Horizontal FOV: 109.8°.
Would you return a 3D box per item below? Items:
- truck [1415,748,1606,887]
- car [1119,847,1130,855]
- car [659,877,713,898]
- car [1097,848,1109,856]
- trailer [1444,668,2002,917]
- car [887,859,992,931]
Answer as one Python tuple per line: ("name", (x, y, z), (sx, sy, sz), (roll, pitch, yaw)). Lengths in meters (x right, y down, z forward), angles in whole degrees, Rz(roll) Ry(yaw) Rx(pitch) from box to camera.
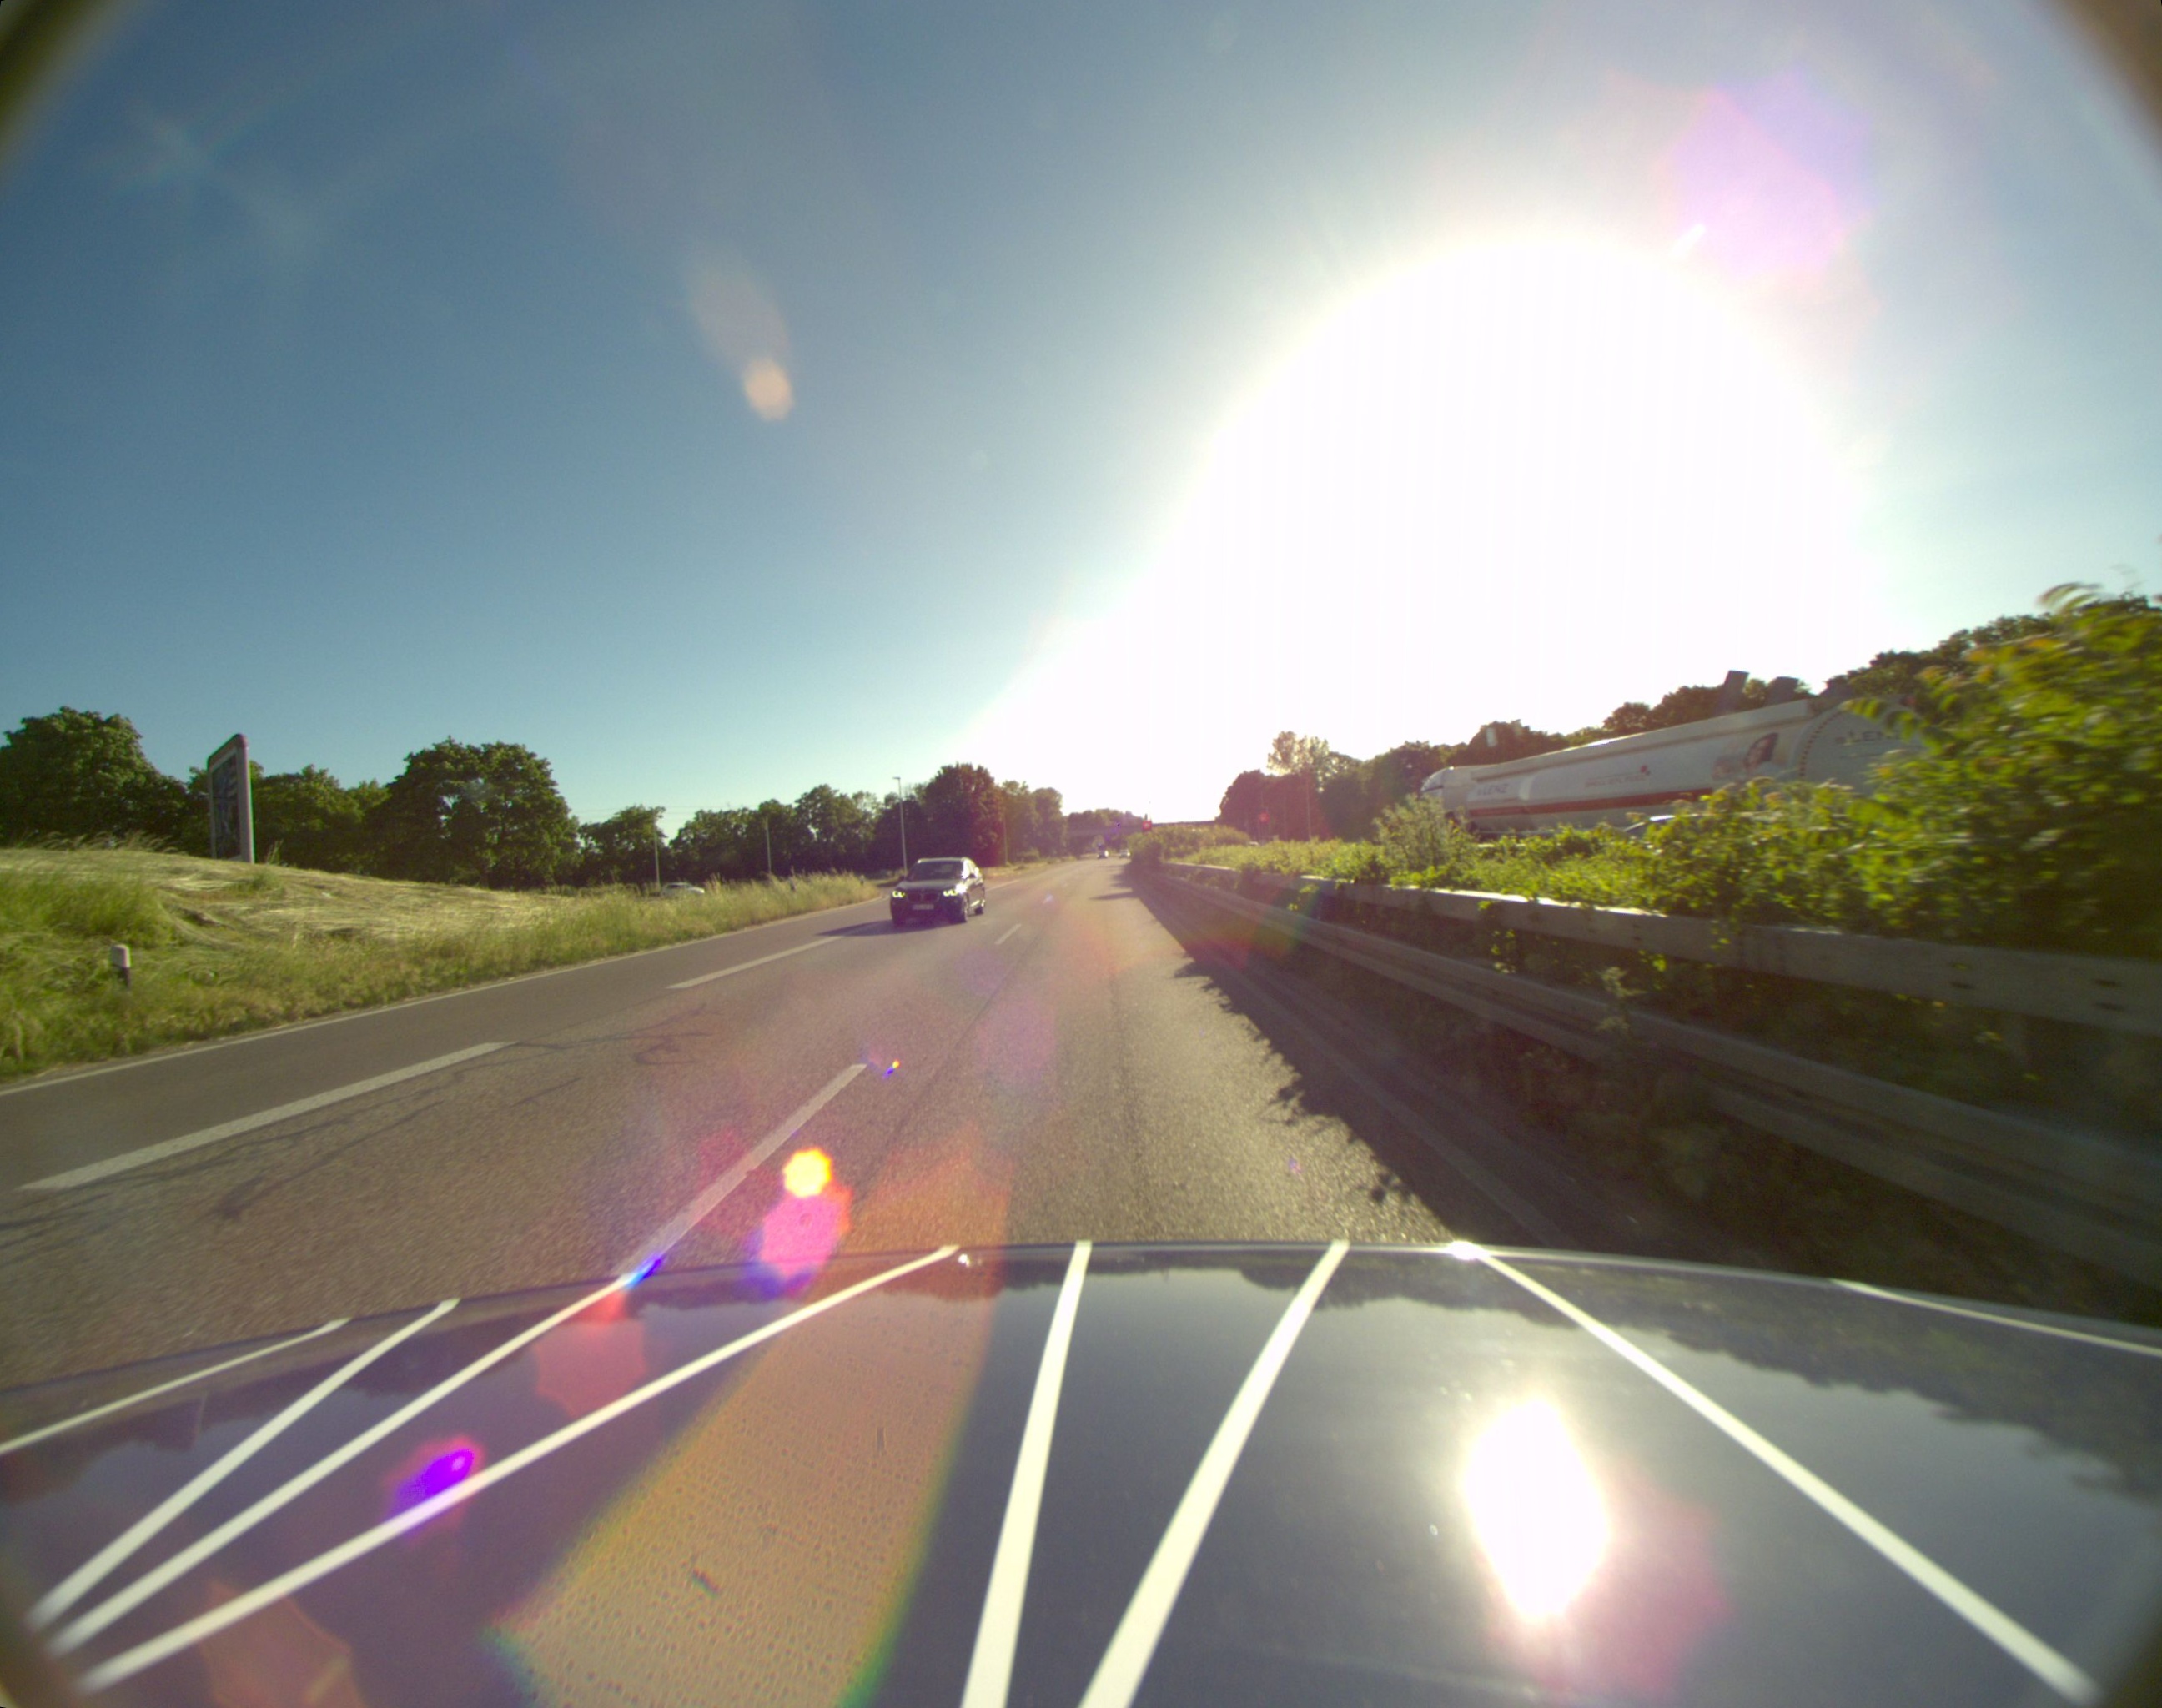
("truck", (12.864, -0.998, 23.341), (2.783, 3.636, 5.324), (-3, 0, 1))
("car", (7.603, -0.523, 131.814), (1.725, 1.412, 3.670), (-3, 0, 5))
("car", (-36.032, 3.022, 69.284), (3.994, 1.681, 1.870), (-2, 0, 10))
("car", (3.900, -0.339, 135.275), (1.682, 1.412, 3.671), (-3, 0, 6))
("trailer", (12.733, -0.945, 17.711), (2.783, 3.636, 12.205), (-3, 0, 2))
("car", (-3.613, 0.980, 20.231), (1.759, 1.564, 4.520), (-2, 1, 2))
